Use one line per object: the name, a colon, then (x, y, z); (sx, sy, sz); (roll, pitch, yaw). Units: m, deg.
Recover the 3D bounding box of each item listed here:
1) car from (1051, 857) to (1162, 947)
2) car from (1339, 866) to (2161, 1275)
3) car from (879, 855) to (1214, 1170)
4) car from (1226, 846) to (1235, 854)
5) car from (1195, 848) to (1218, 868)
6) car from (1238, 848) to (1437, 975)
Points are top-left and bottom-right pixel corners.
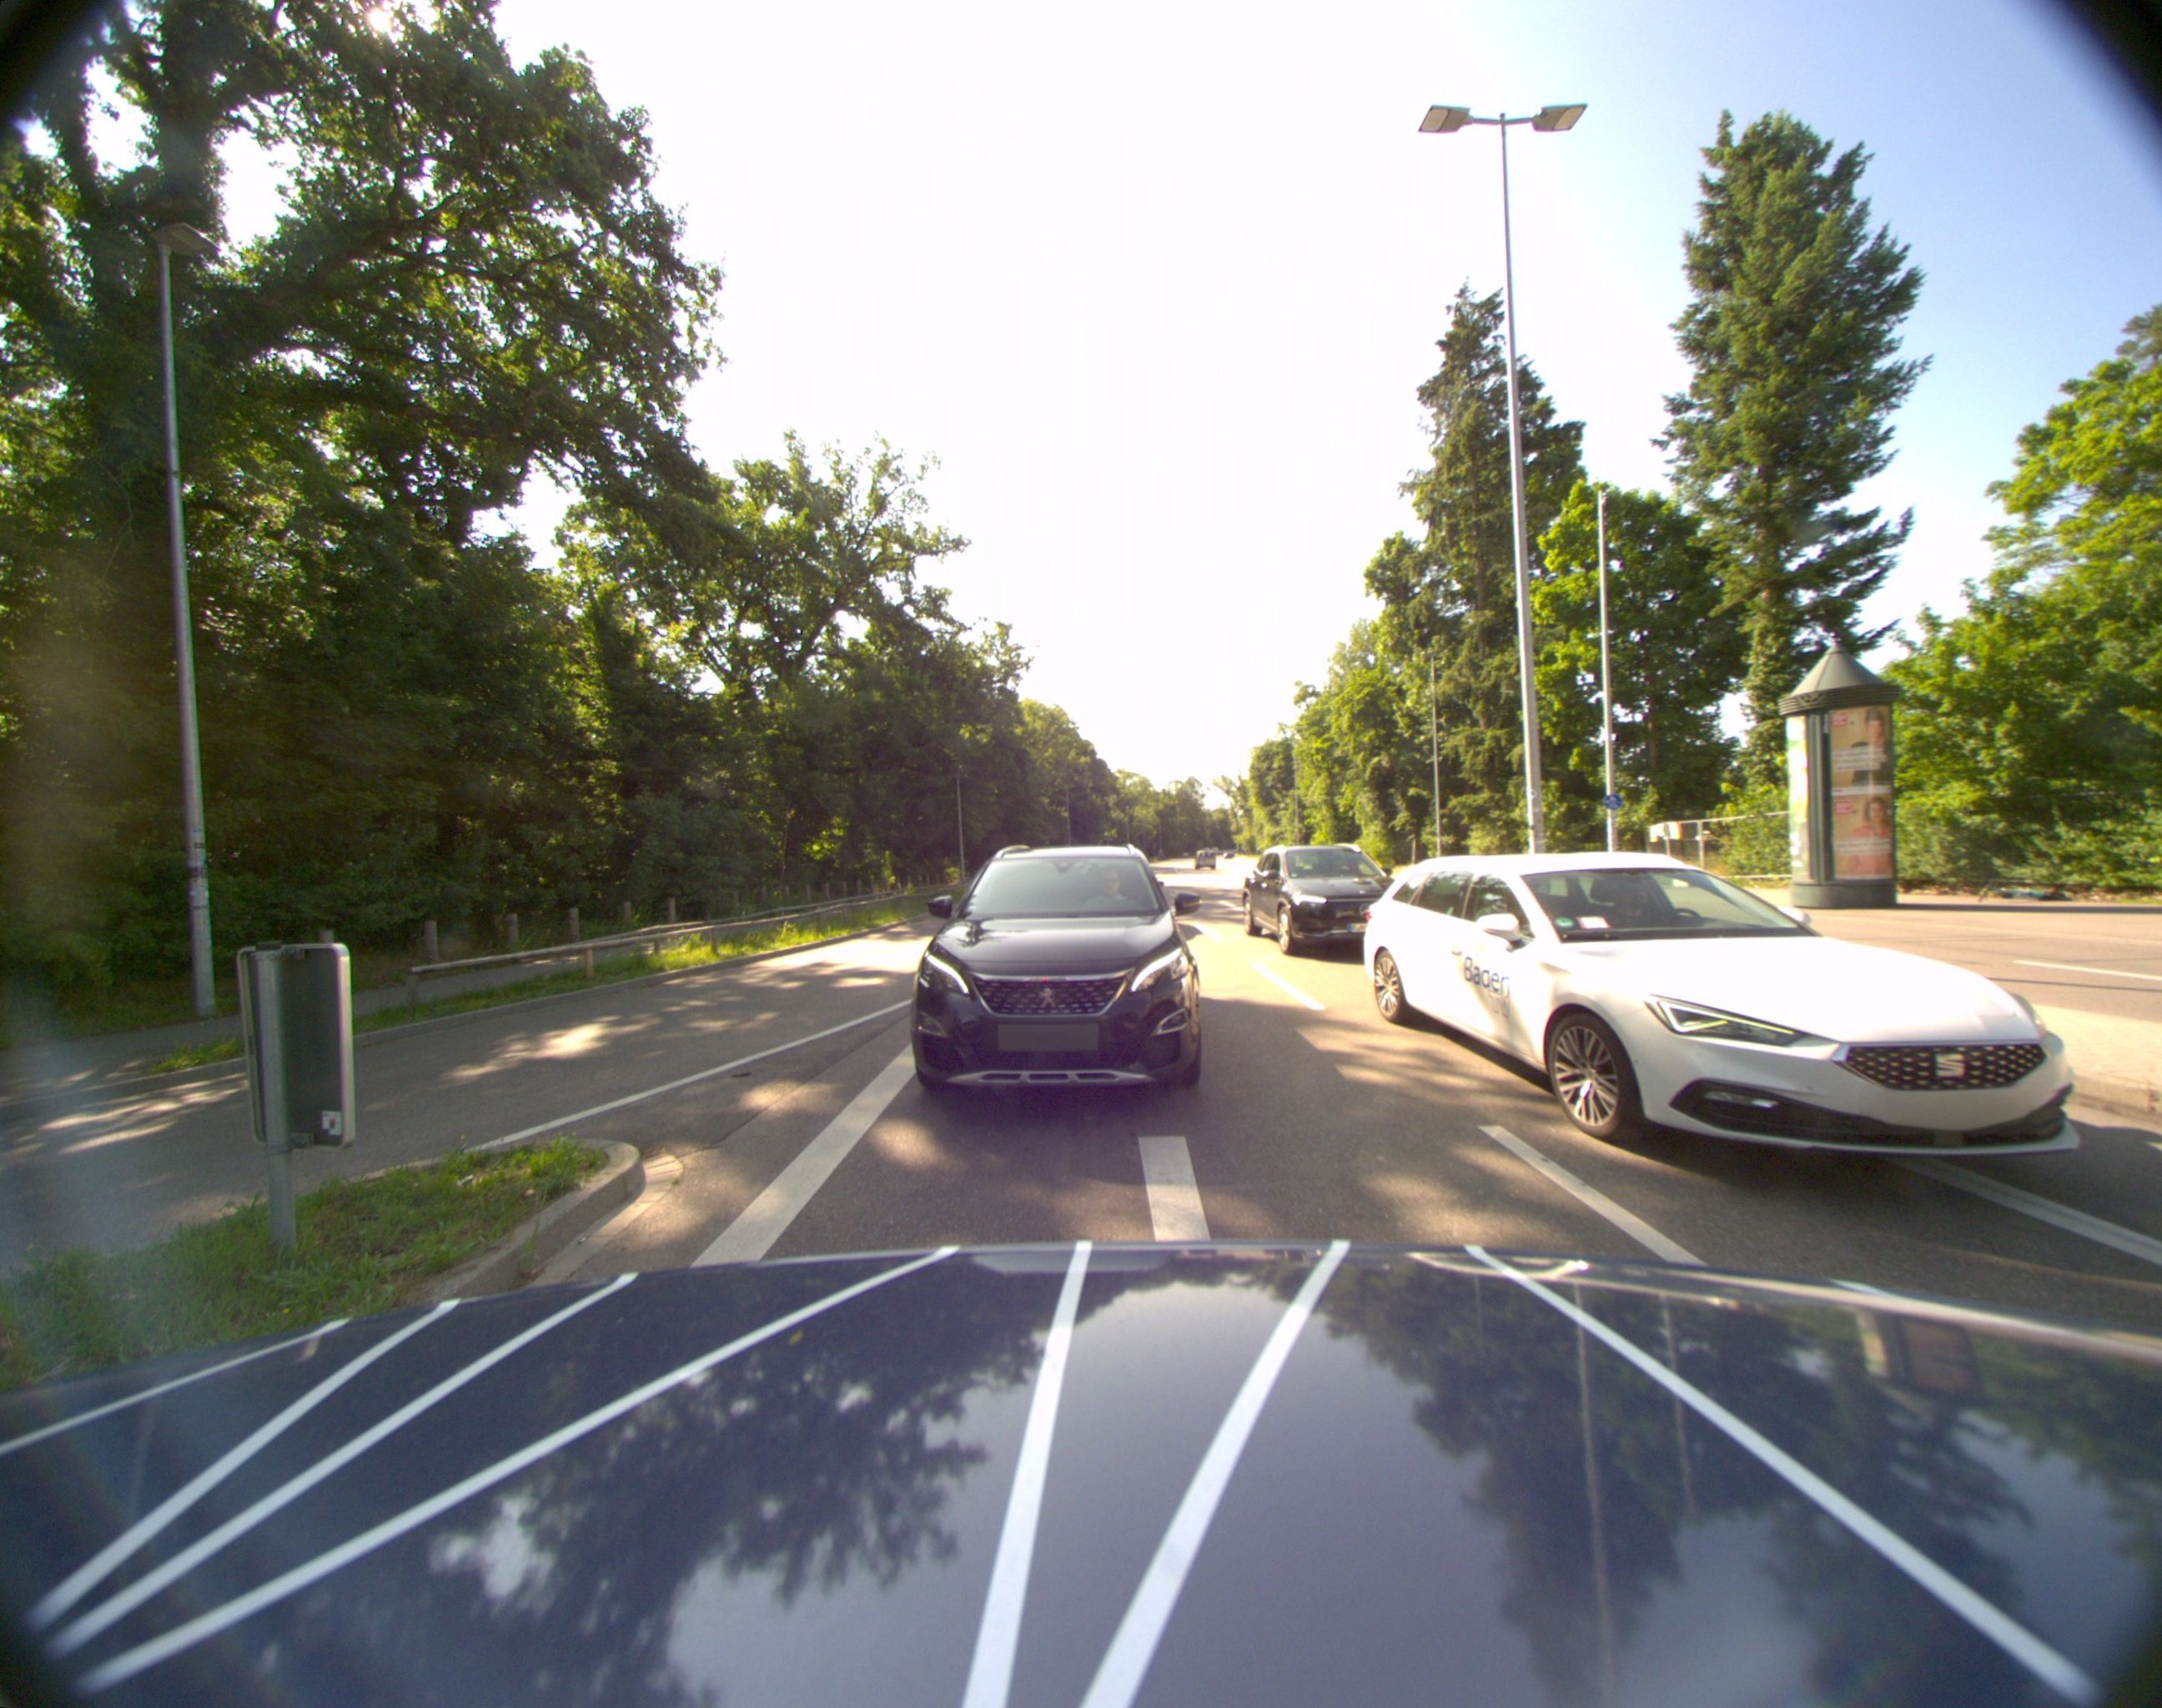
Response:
car: (0.480, 0.864, 15.570); (1.933, 1.499, 4.000); (-2, 0, 1)
car: (3.403, 0.854, 5.205); (1.729, 1.418, 4.720); (-1, 0, 1)
car: (-0.153, 0.846, 6.181); (1.702, 1.581, 4.319); (-3, 0, 1)
car: (33.119, -0.933, 168.650); (1.855, 1.608, 4.003); (-2, 0, 11)
car: (12.637, 0.356, 76.583); (1.876, 1.849, 4.001); (-2, 0, 4)
car: (3.759, 0.763, 11.979); (1.809, 1.586, 4.274); (-2, 0, 2)
